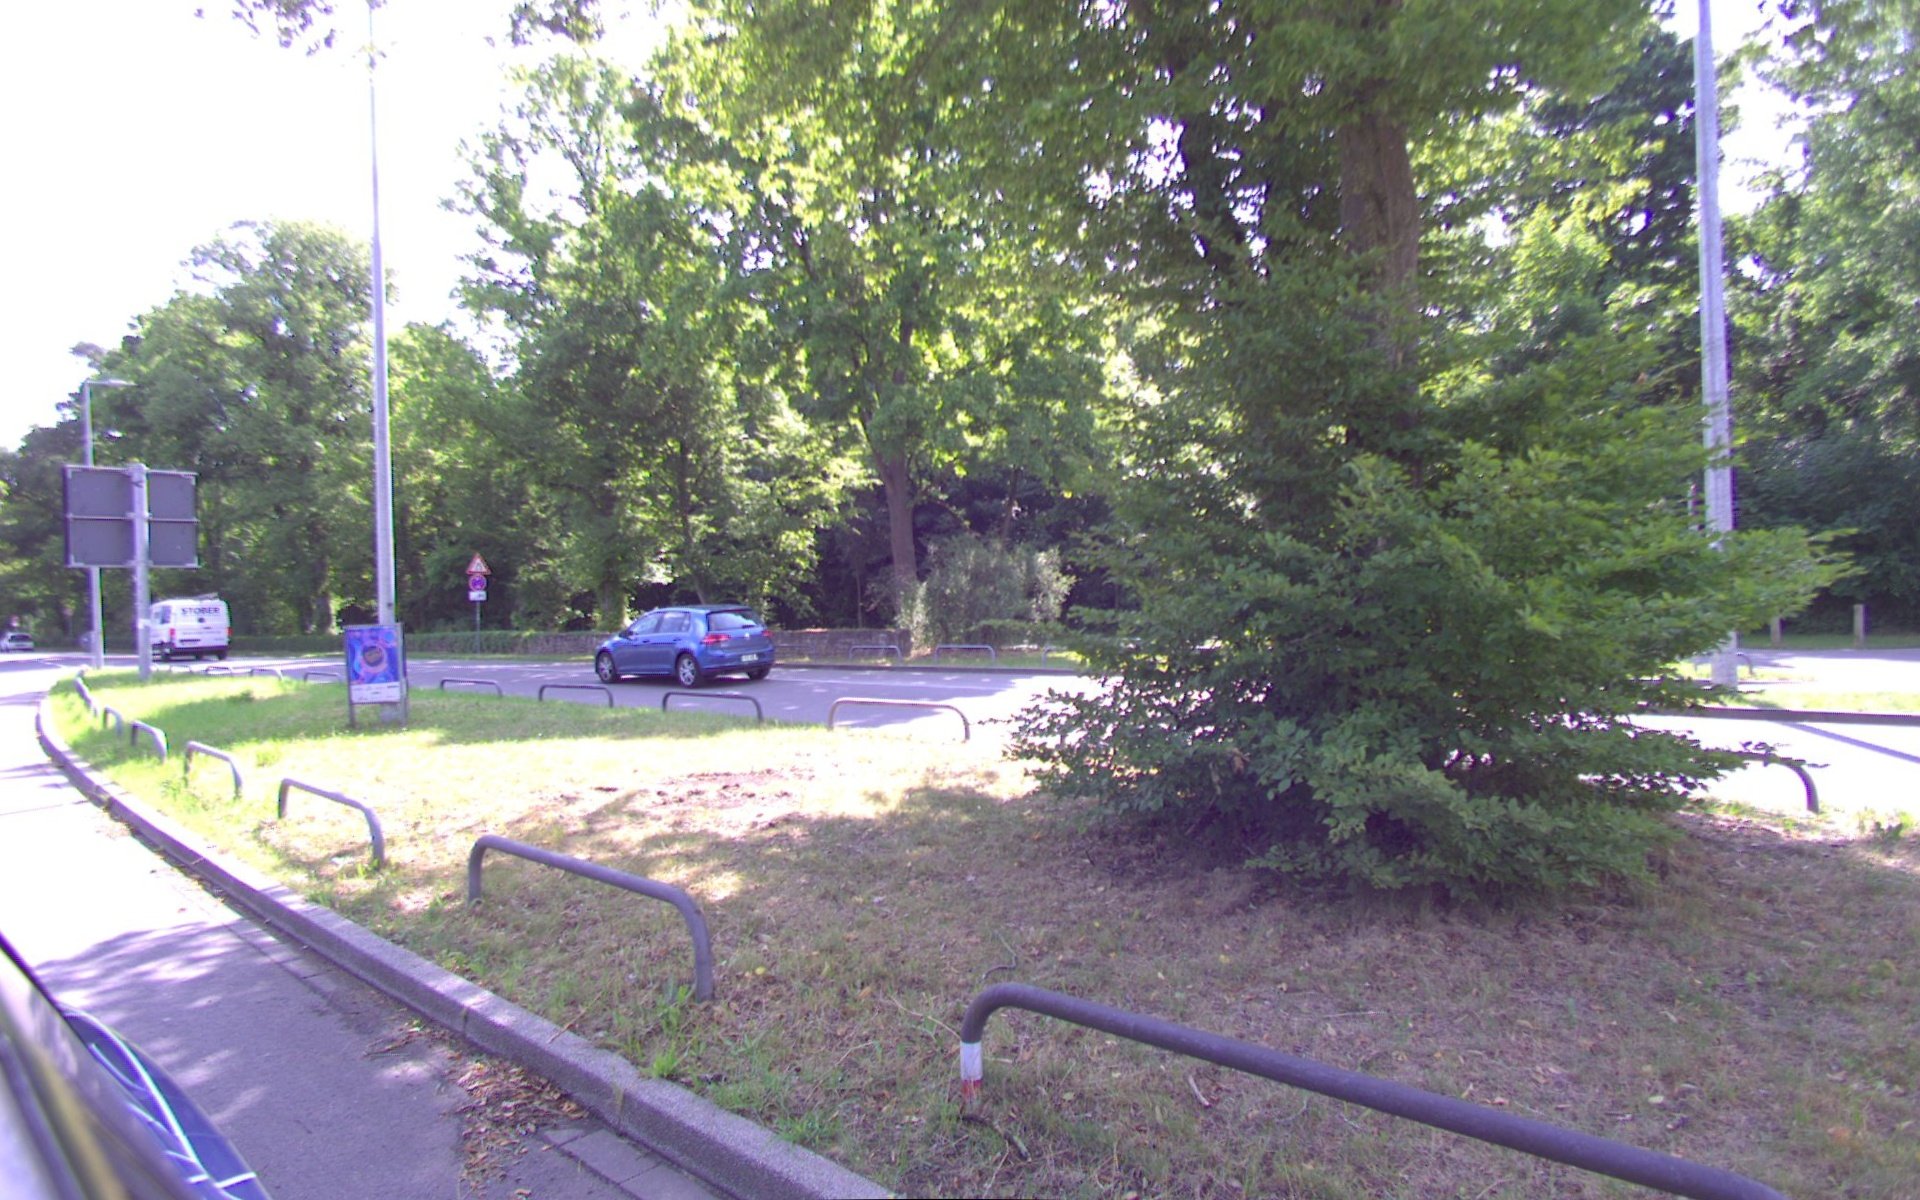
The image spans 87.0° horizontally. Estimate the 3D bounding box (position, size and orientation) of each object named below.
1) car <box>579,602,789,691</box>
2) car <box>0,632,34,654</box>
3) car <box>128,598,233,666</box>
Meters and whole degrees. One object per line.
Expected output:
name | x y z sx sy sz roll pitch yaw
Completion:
car | -5.274 0.816 19.130 4.060 1.457 1.679 -1 2 38
car | -71.035 3.221 76.245 3.872 1.481 1.633 -1 0 43
car | -30.839 1.205 39.982 5.356 2.449 1.956 -1 1 38
